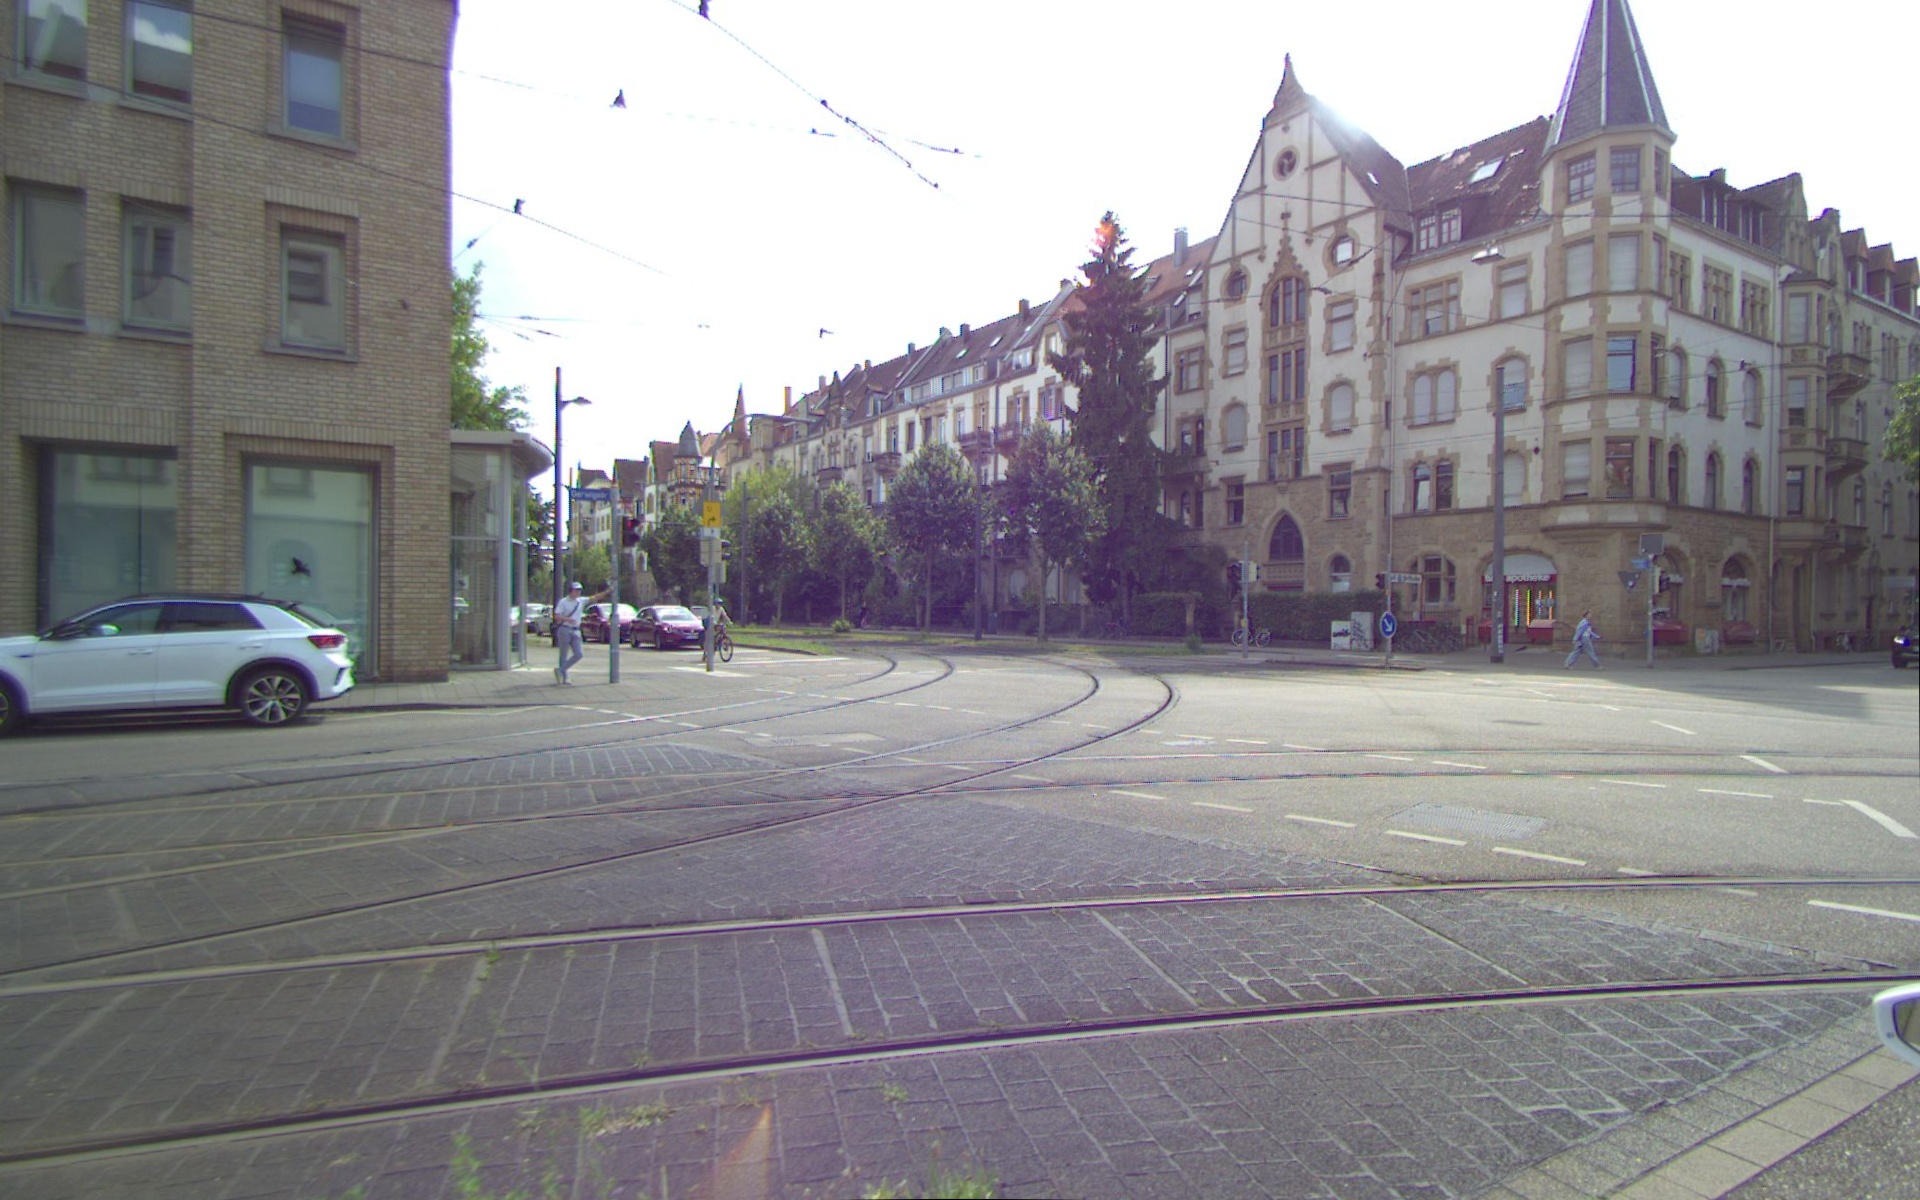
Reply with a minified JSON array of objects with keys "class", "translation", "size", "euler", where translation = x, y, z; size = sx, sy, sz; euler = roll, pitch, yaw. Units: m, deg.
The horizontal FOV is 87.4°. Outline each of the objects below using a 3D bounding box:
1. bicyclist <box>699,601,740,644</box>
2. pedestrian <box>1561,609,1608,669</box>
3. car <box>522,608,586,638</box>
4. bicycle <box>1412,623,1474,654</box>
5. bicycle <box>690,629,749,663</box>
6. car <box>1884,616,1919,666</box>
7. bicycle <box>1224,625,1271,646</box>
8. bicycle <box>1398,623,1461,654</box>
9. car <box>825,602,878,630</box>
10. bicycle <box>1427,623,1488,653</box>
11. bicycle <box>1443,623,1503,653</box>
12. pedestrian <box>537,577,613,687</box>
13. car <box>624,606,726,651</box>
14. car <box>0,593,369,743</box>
[{"class":"bicyclist","translation":[-6.540,0.602,27.312],"size":[0.769,1.162,0.888],"euler":[1,0,-39]},{"class":"pedestrian","translation":[18.703,1.157,30.098],"size":[1.003,1.745,0.776],"euler":[1,0,16]},{"class":"car","translation":[-18.666,1.023,46.110],"size":[1.809,1.305,3.958],"euler":[1,0,-36]},{"class":"bicycle","translation":[17.714,1.386,36.857],"size":[0.772,1.095,1.899],"euler":[1,-1,-40]},{"class":"bicycle","translation":[-6.561,1.222,27.304],"size":[0.712,0.837,2.124],"euler":[1,0,-39]},{"class":"car","translation":[32.984,1.381,33.869],"size":[3.961,1.639,1.980],"euler":[1,-1,-36]},{"class":"bicycle","translation":[11.723,1.437,40.986],"size":[0.467,0.859,1.899],"euler":[1,-1,-40]},{"class":"bicycle","translation":[16.803,1.362,35.966],"size":[0.772,1.095,1.899],"euler":[1,-1,-40]},{"class":"car","translation":[-7.276,1.064,67.032],"size":[1.808,1.817,3.959],"euler":[1,-1,-36]},{"class":"bicycle","translation":[18.602,1.406,37.570],"size":[0.772,1.095,1.899],"euler":[1,-1,-40]},{"class":"bicycle","translation":[19.570,1.428,38.350],"size":[0.772,1.095,1.899],"euler":[1,-1,-40]},{"class":"pedestrian","translation":[-6.641,0.535,17.322],"size":[0.749,1.819,0.957],"euler":[1,0,34]},{"class":"car","translation":[-9.645,0.936,33.821],"size":[1.875,1.394,3.954],"euler":[1,0,-40]},{"class":"car","translation":[-9.436,0.727,11.828],"size":[4.207,1.555,1.924],"euler":[1,-1,-30]}]
